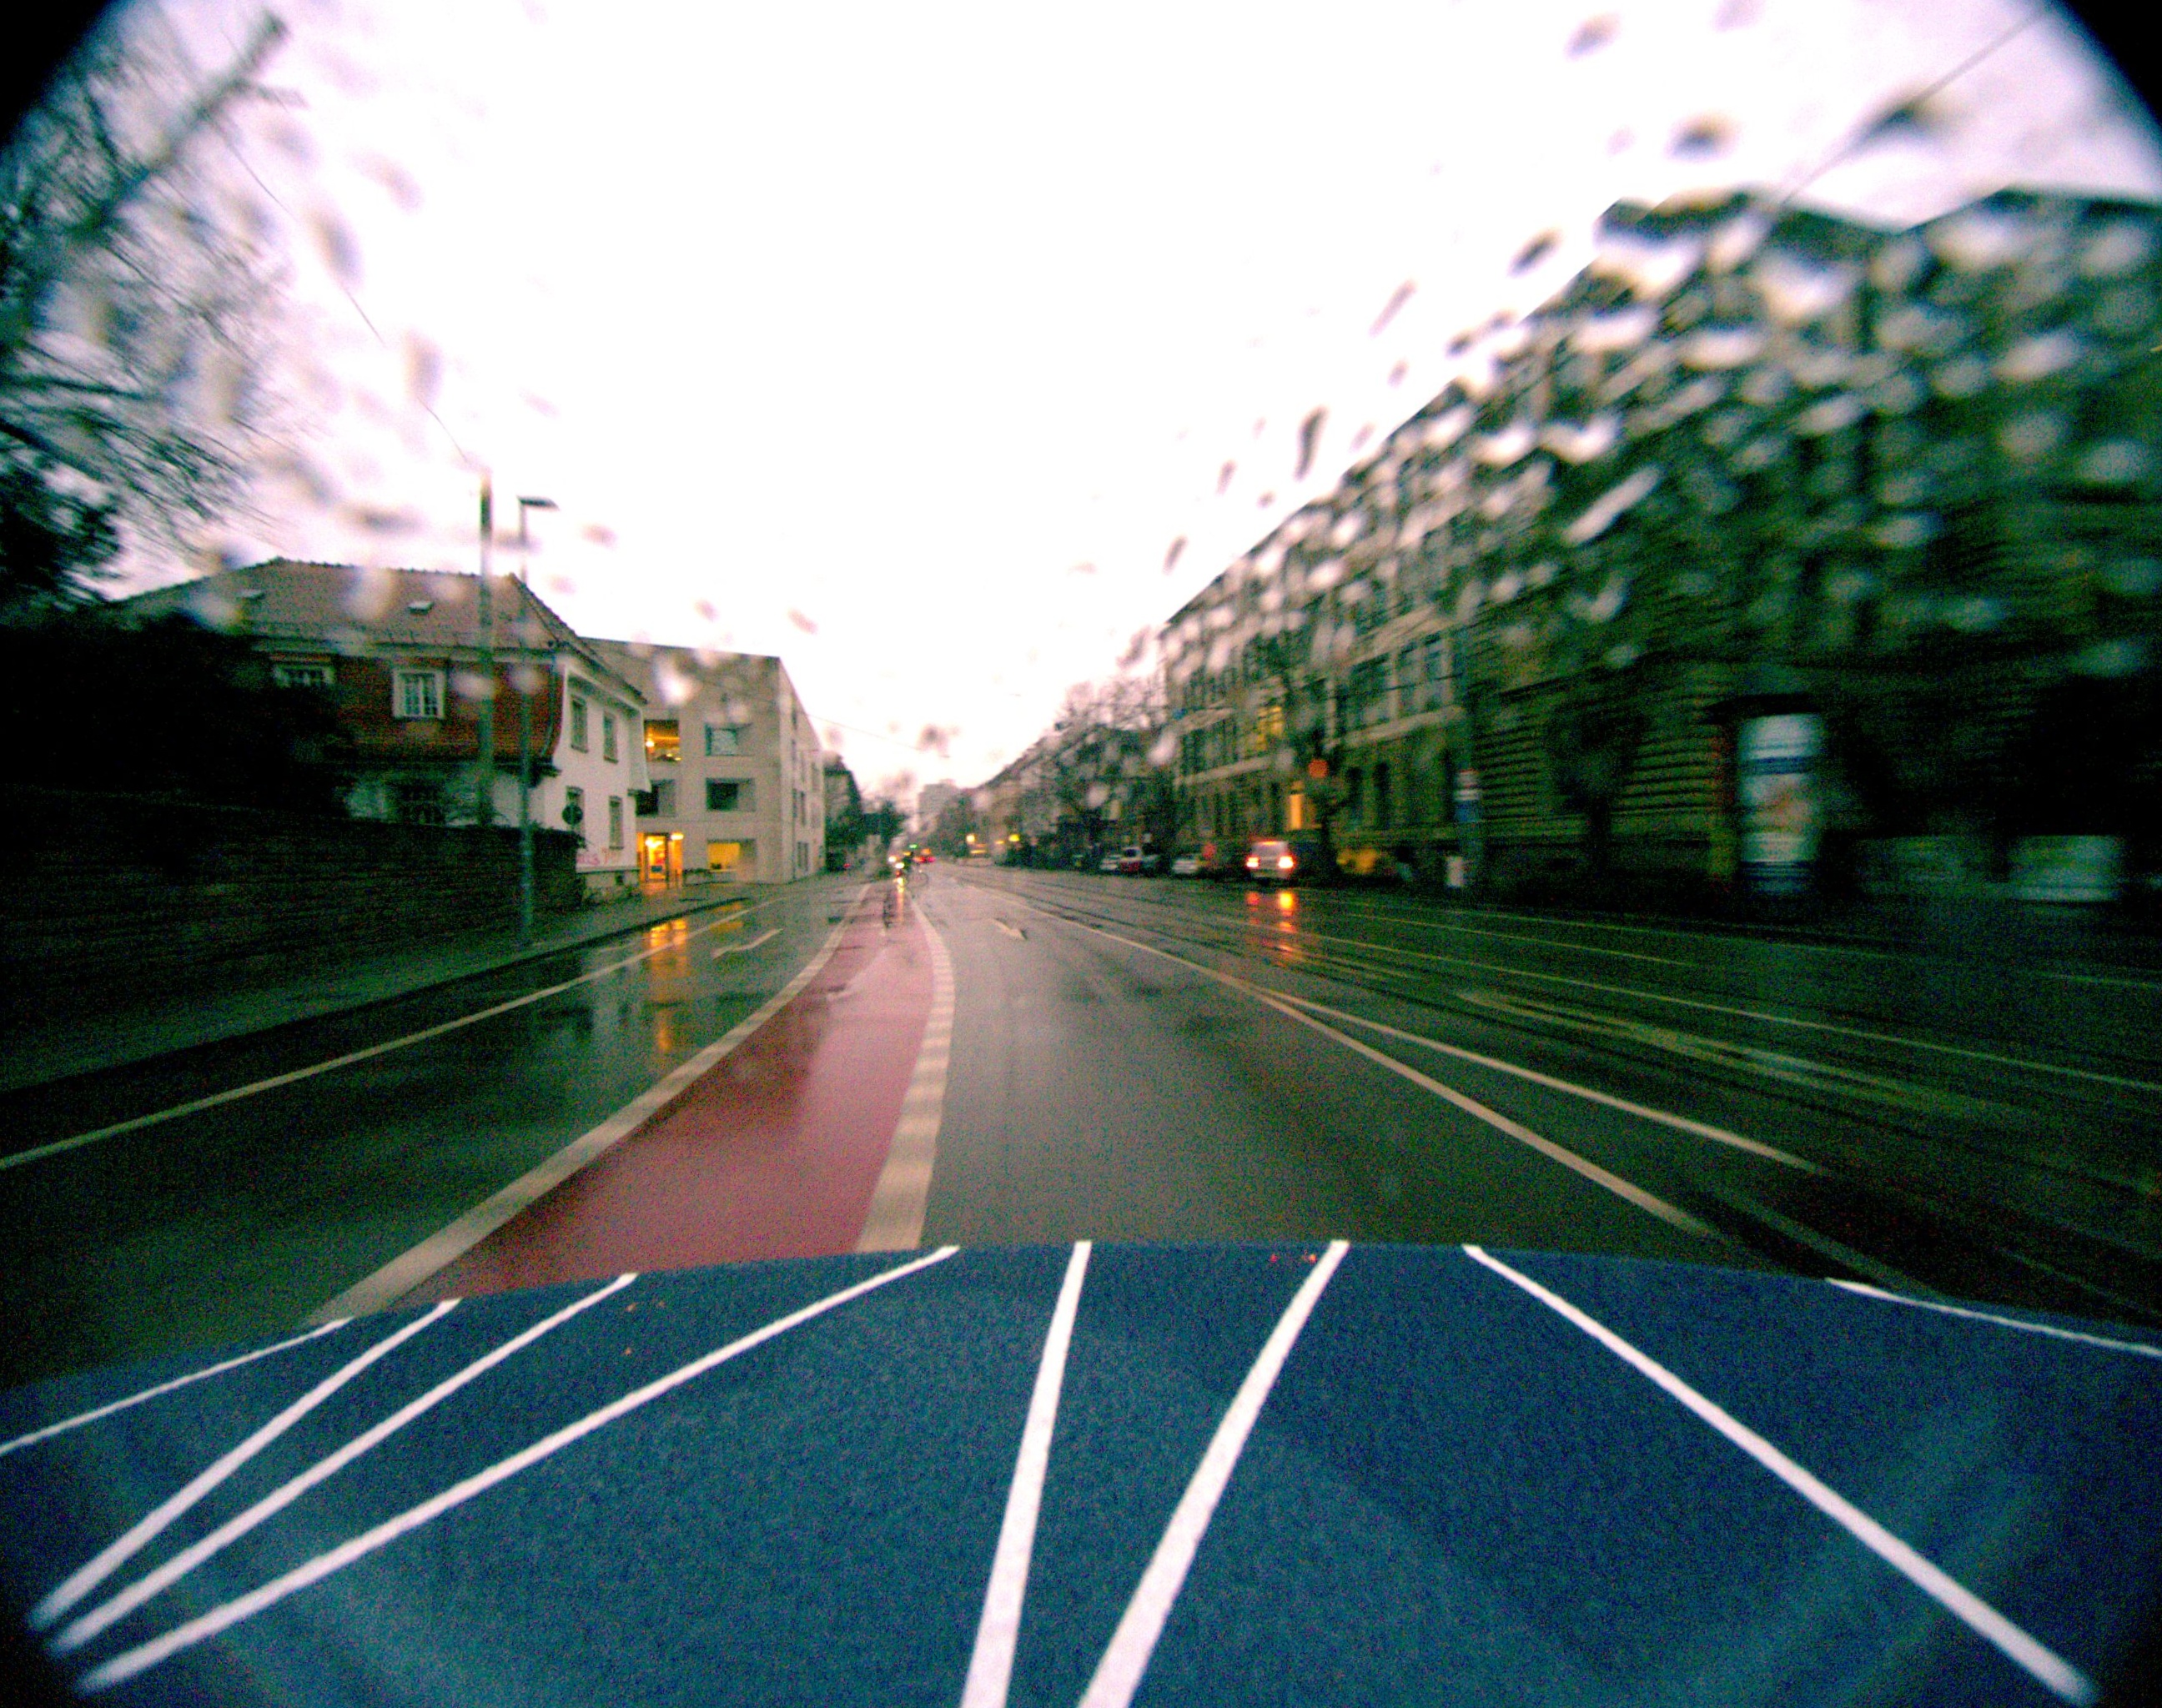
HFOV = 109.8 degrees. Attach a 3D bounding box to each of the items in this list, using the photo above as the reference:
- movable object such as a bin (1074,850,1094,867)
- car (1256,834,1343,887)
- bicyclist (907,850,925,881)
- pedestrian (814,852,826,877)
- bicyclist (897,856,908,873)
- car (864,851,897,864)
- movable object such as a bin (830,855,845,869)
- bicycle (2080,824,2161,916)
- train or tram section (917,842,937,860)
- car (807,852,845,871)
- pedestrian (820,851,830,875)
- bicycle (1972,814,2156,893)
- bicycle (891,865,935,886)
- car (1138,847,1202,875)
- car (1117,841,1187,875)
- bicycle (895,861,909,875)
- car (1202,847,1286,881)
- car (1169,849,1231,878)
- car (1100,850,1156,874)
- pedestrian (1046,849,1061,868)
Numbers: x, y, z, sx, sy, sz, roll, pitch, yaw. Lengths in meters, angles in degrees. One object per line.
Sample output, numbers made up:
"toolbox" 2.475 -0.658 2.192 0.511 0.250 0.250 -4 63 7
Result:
"movable object such as a bin" 0.265 0.404 68.446 1.340 1.456 0.988 -2 2 39
"car" 9.674 0.246 33.351 1.907 2.022 4.812 -2 2 39
"bicyclist" -8.660 0.610 39.957 0.857 1.586 0.780 -1 1 -9
"pedestrian" -19.522 0.750 56.873 0.774 1.848 0.717 0 1 -12
"bicyclist" -14.202 0.844 60.506 0.717 1.335 0.719 -3 2 -7
"car" -27.262 0.484 103.163 3.862 1.421 1.858 -4 2 -31
"movable object such as a bin" -24.559 0.802 76.704 1.261 1.437 1.417 -1 1 -14
"bicycle" 20.526 0.280 14.014 2.423 1.679 0.714 -2 2 37
"train or tram section" -35.665 -0.807 175.148 2.889 3.715 27.296 -4 1 -14
"car" -25.674 0.752 76.571 3.462 1.638 1.729 -4 2 -14
"pedestrian" -19.189 0.670 56.930 0.658 1.849 0.658 0 1 -12
"bicycle" 22.072 0.013 17.146 2.423 1.679 0.714 -2 2 37
"bicycle" -8.822 1.117 39.994 2.123 0.939 0.943 -3 2 -10
"car" 5.729 0.457 48.644 3.983 1.531 1.819 -4 2 -41
"car" 4.866 0.254 51.715 4.630 2.042 1.961 -4 2 -41
"bicycle" -14.239 1.138 60.461 0.724 1.084 2.284 -2 -1 -7
"car" 8.399 0.480 38.940 4.485 1.449 1.795 -4 2 -40
"car" 6.912 0.540 43.899 1.633 1.449 3.833 -2 2 43
"car" 3.569 0.602 57.533 4.192 1.582 1.770 -4 2 -43
"pedestrian" -2.587 0.448 71.074 0.925 1.693 0.945 -4 2 -36
